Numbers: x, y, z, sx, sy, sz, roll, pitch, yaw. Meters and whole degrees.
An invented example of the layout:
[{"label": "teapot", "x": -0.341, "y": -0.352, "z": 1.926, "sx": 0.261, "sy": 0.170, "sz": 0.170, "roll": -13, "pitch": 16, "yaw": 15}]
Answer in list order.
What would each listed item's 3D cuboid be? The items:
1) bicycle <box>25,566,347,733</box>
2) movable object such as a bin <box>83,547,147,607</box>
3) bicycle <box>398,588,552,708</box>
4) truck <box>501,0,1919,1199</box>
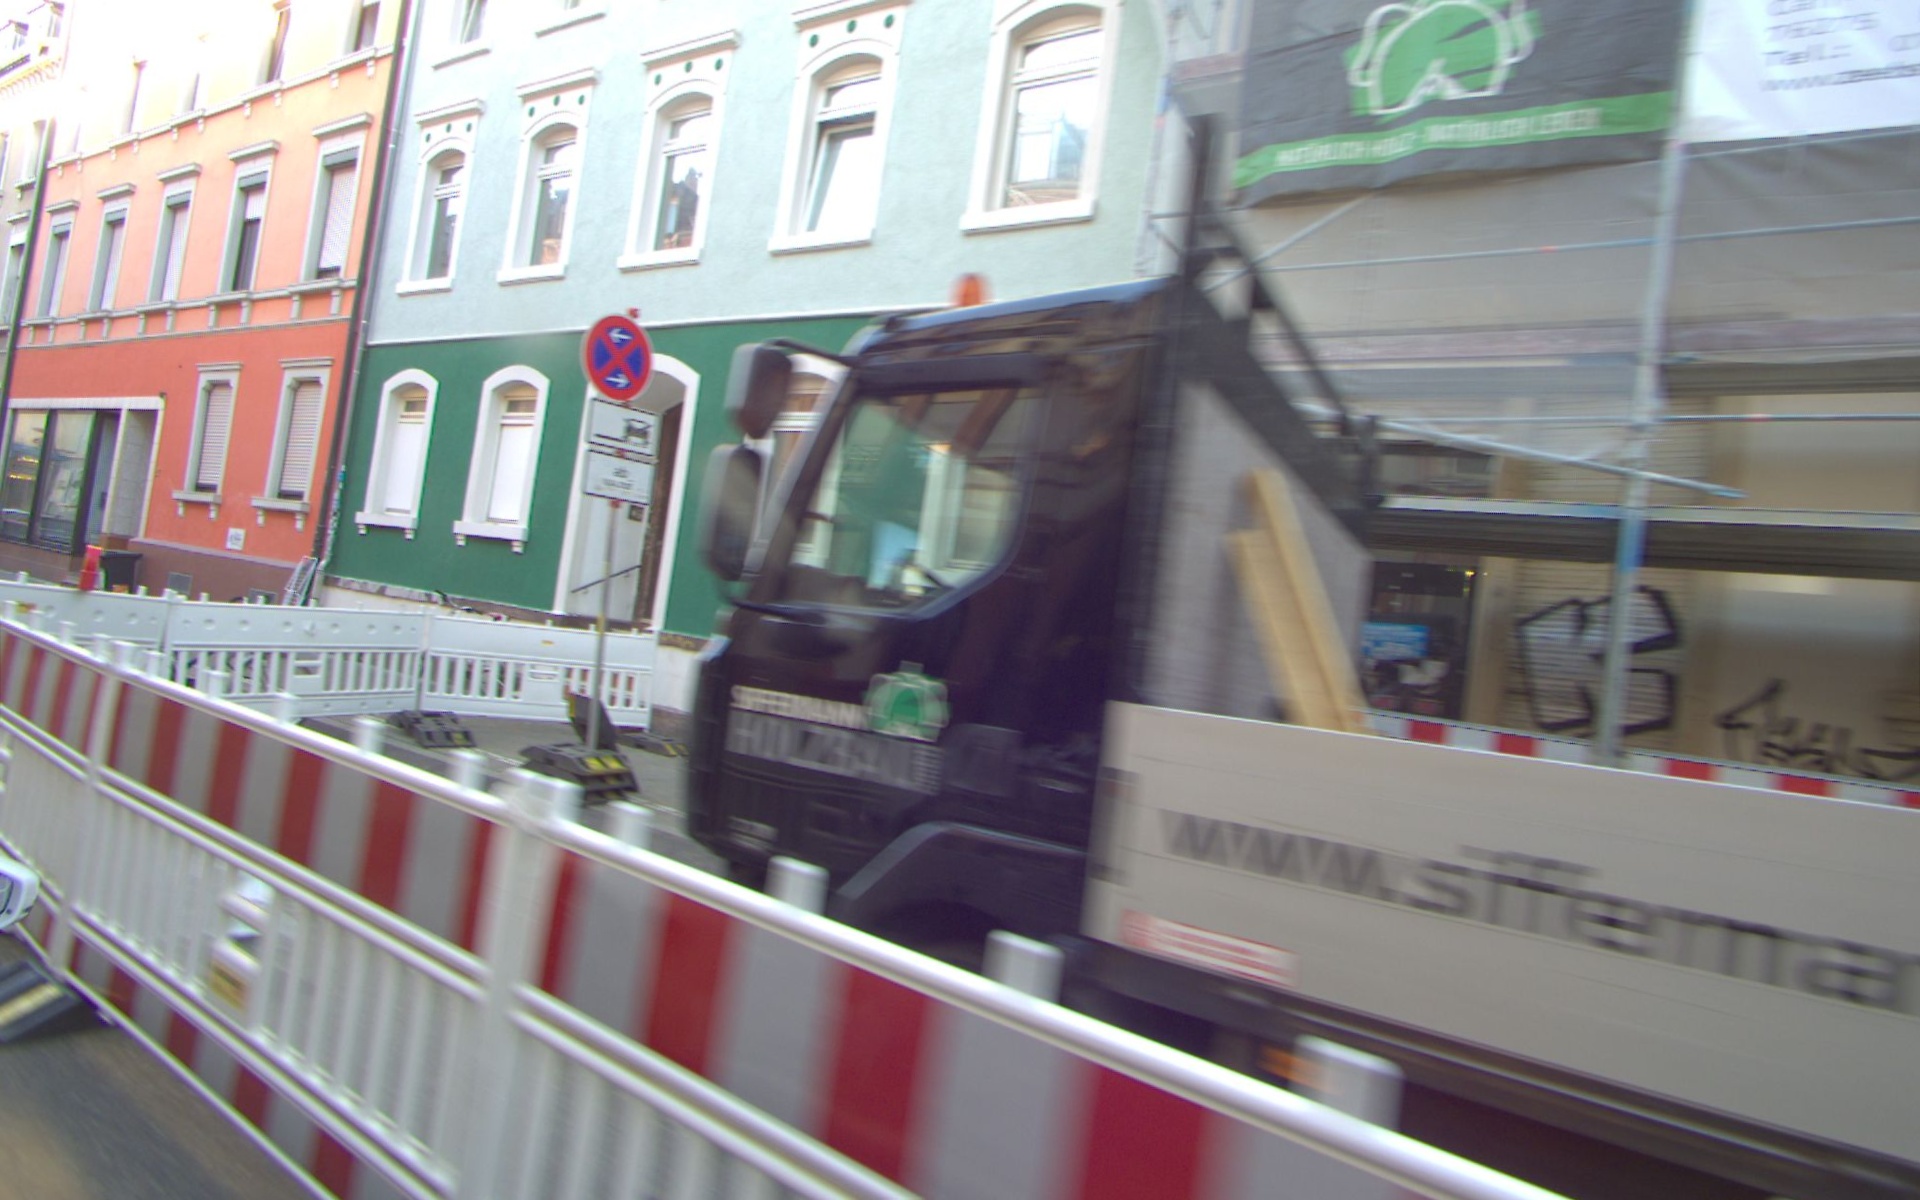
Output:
[{"label": "bicycle", "x": -6.140, "y": 0.459, "z": 8.136, "sx": 0.632, "sy": 1.121, "sz": 1.858, "roll": 7, "pitch": -4, "yaw": 25}, {"label": "movable object such as a bin", "x": -14.167, "y": -0.377, "z": 16.867, "sx": 0.570, "sy": 0.917, "sz": 0.598, "roll": 6, "pitch": 0, "yaw": 30}, {"label": "bicycle", "x": -5.597, "y": 0.527, "z": 11.579, "sx": 1.804, "sy": 1.143, "sz": 0.655, "roll": 6, "pitch": 2, "yaw": 32}, {"label": "truck", "x": 2.573, "y": 0.528, "z": 2.258, "sx": 7.271, "sy": 2.843, "sz": 2.669, "roll": 6, "pitch": -4, "yaw": 32}]
